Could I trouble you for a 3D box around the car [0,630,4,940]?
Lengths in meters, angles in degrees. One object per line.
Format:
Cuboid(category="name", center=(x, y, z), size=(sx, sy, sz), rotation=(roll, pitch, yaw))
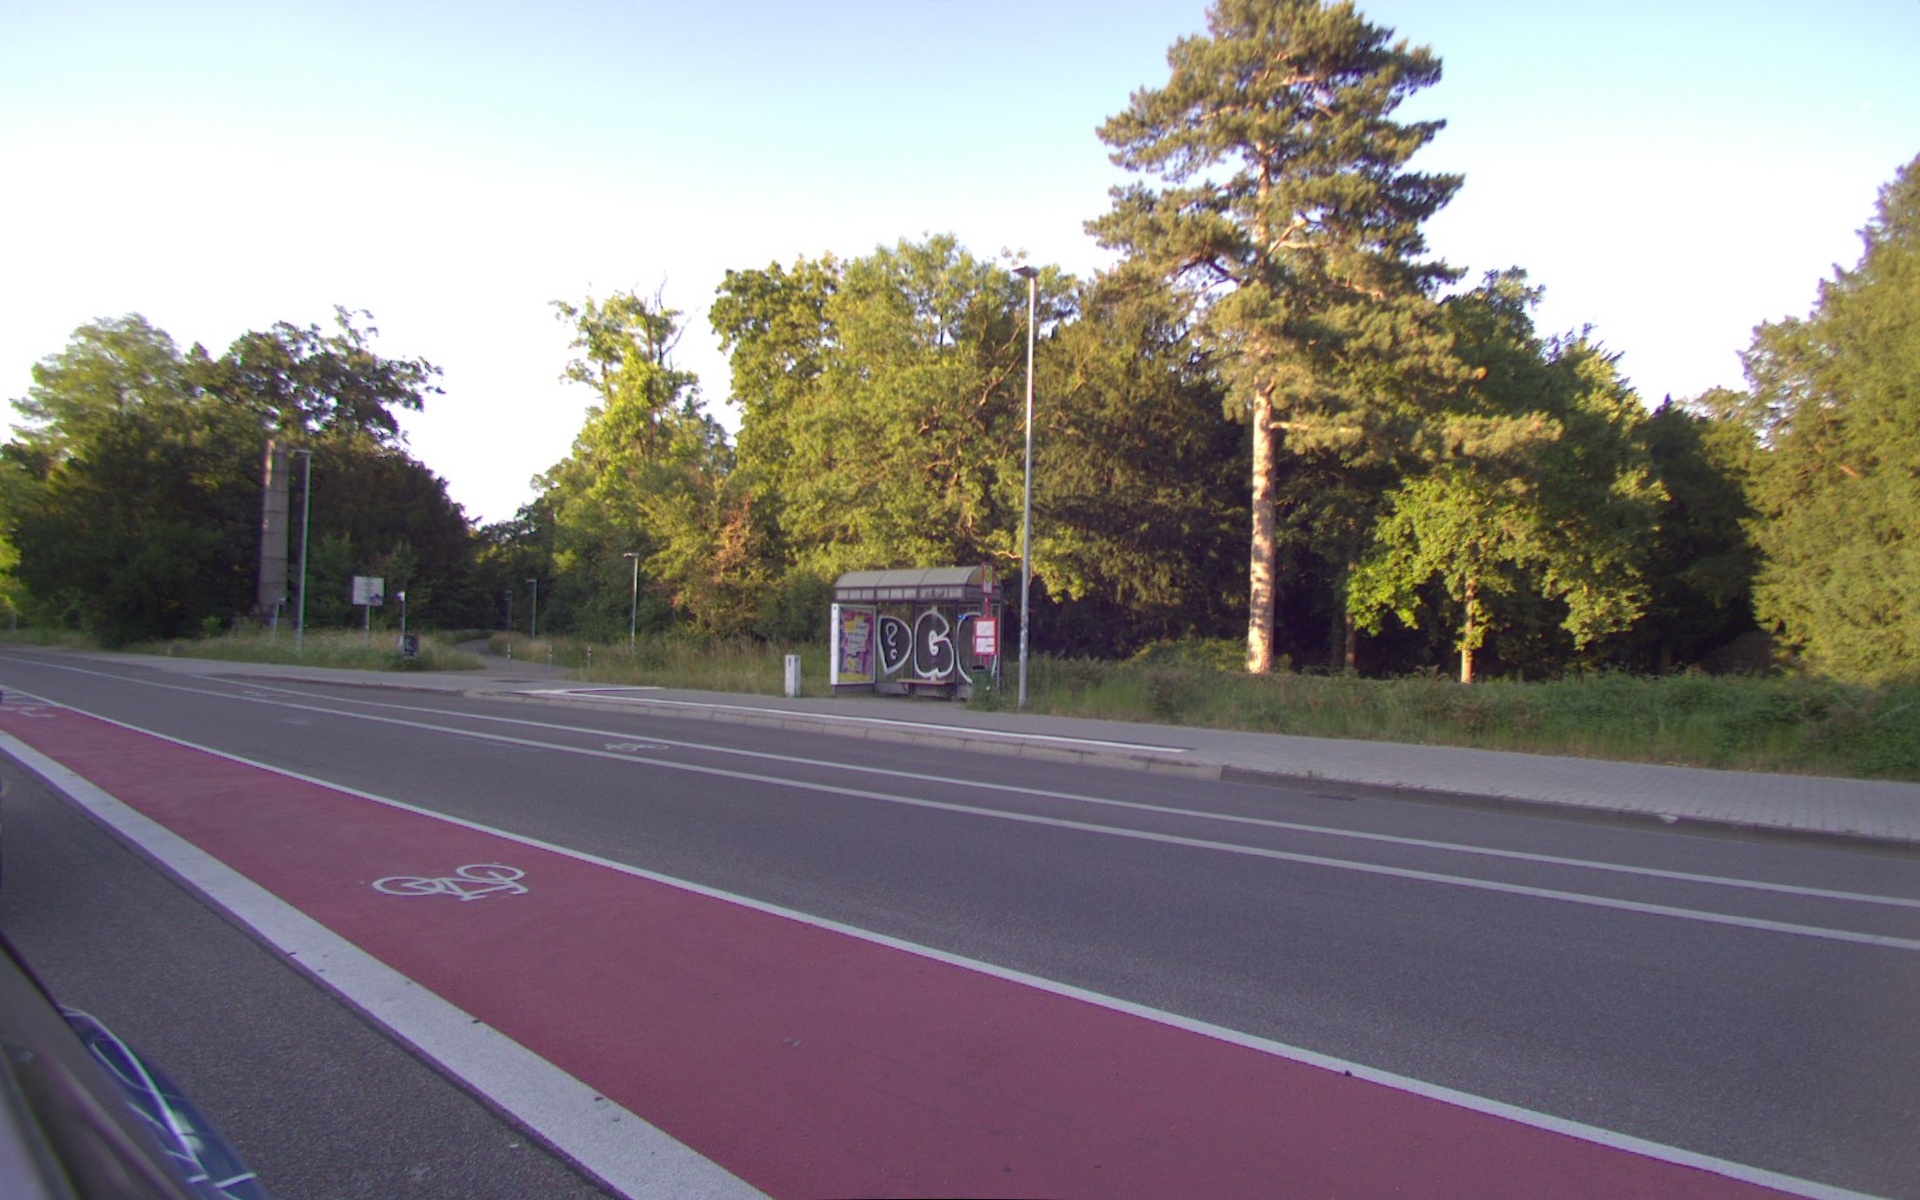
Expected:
Cuboid(category="car", center=(-6.912, 0.892, 5.640), size=(5.210, 1.410, 1.794), rotation=(-1, 0, 41))
